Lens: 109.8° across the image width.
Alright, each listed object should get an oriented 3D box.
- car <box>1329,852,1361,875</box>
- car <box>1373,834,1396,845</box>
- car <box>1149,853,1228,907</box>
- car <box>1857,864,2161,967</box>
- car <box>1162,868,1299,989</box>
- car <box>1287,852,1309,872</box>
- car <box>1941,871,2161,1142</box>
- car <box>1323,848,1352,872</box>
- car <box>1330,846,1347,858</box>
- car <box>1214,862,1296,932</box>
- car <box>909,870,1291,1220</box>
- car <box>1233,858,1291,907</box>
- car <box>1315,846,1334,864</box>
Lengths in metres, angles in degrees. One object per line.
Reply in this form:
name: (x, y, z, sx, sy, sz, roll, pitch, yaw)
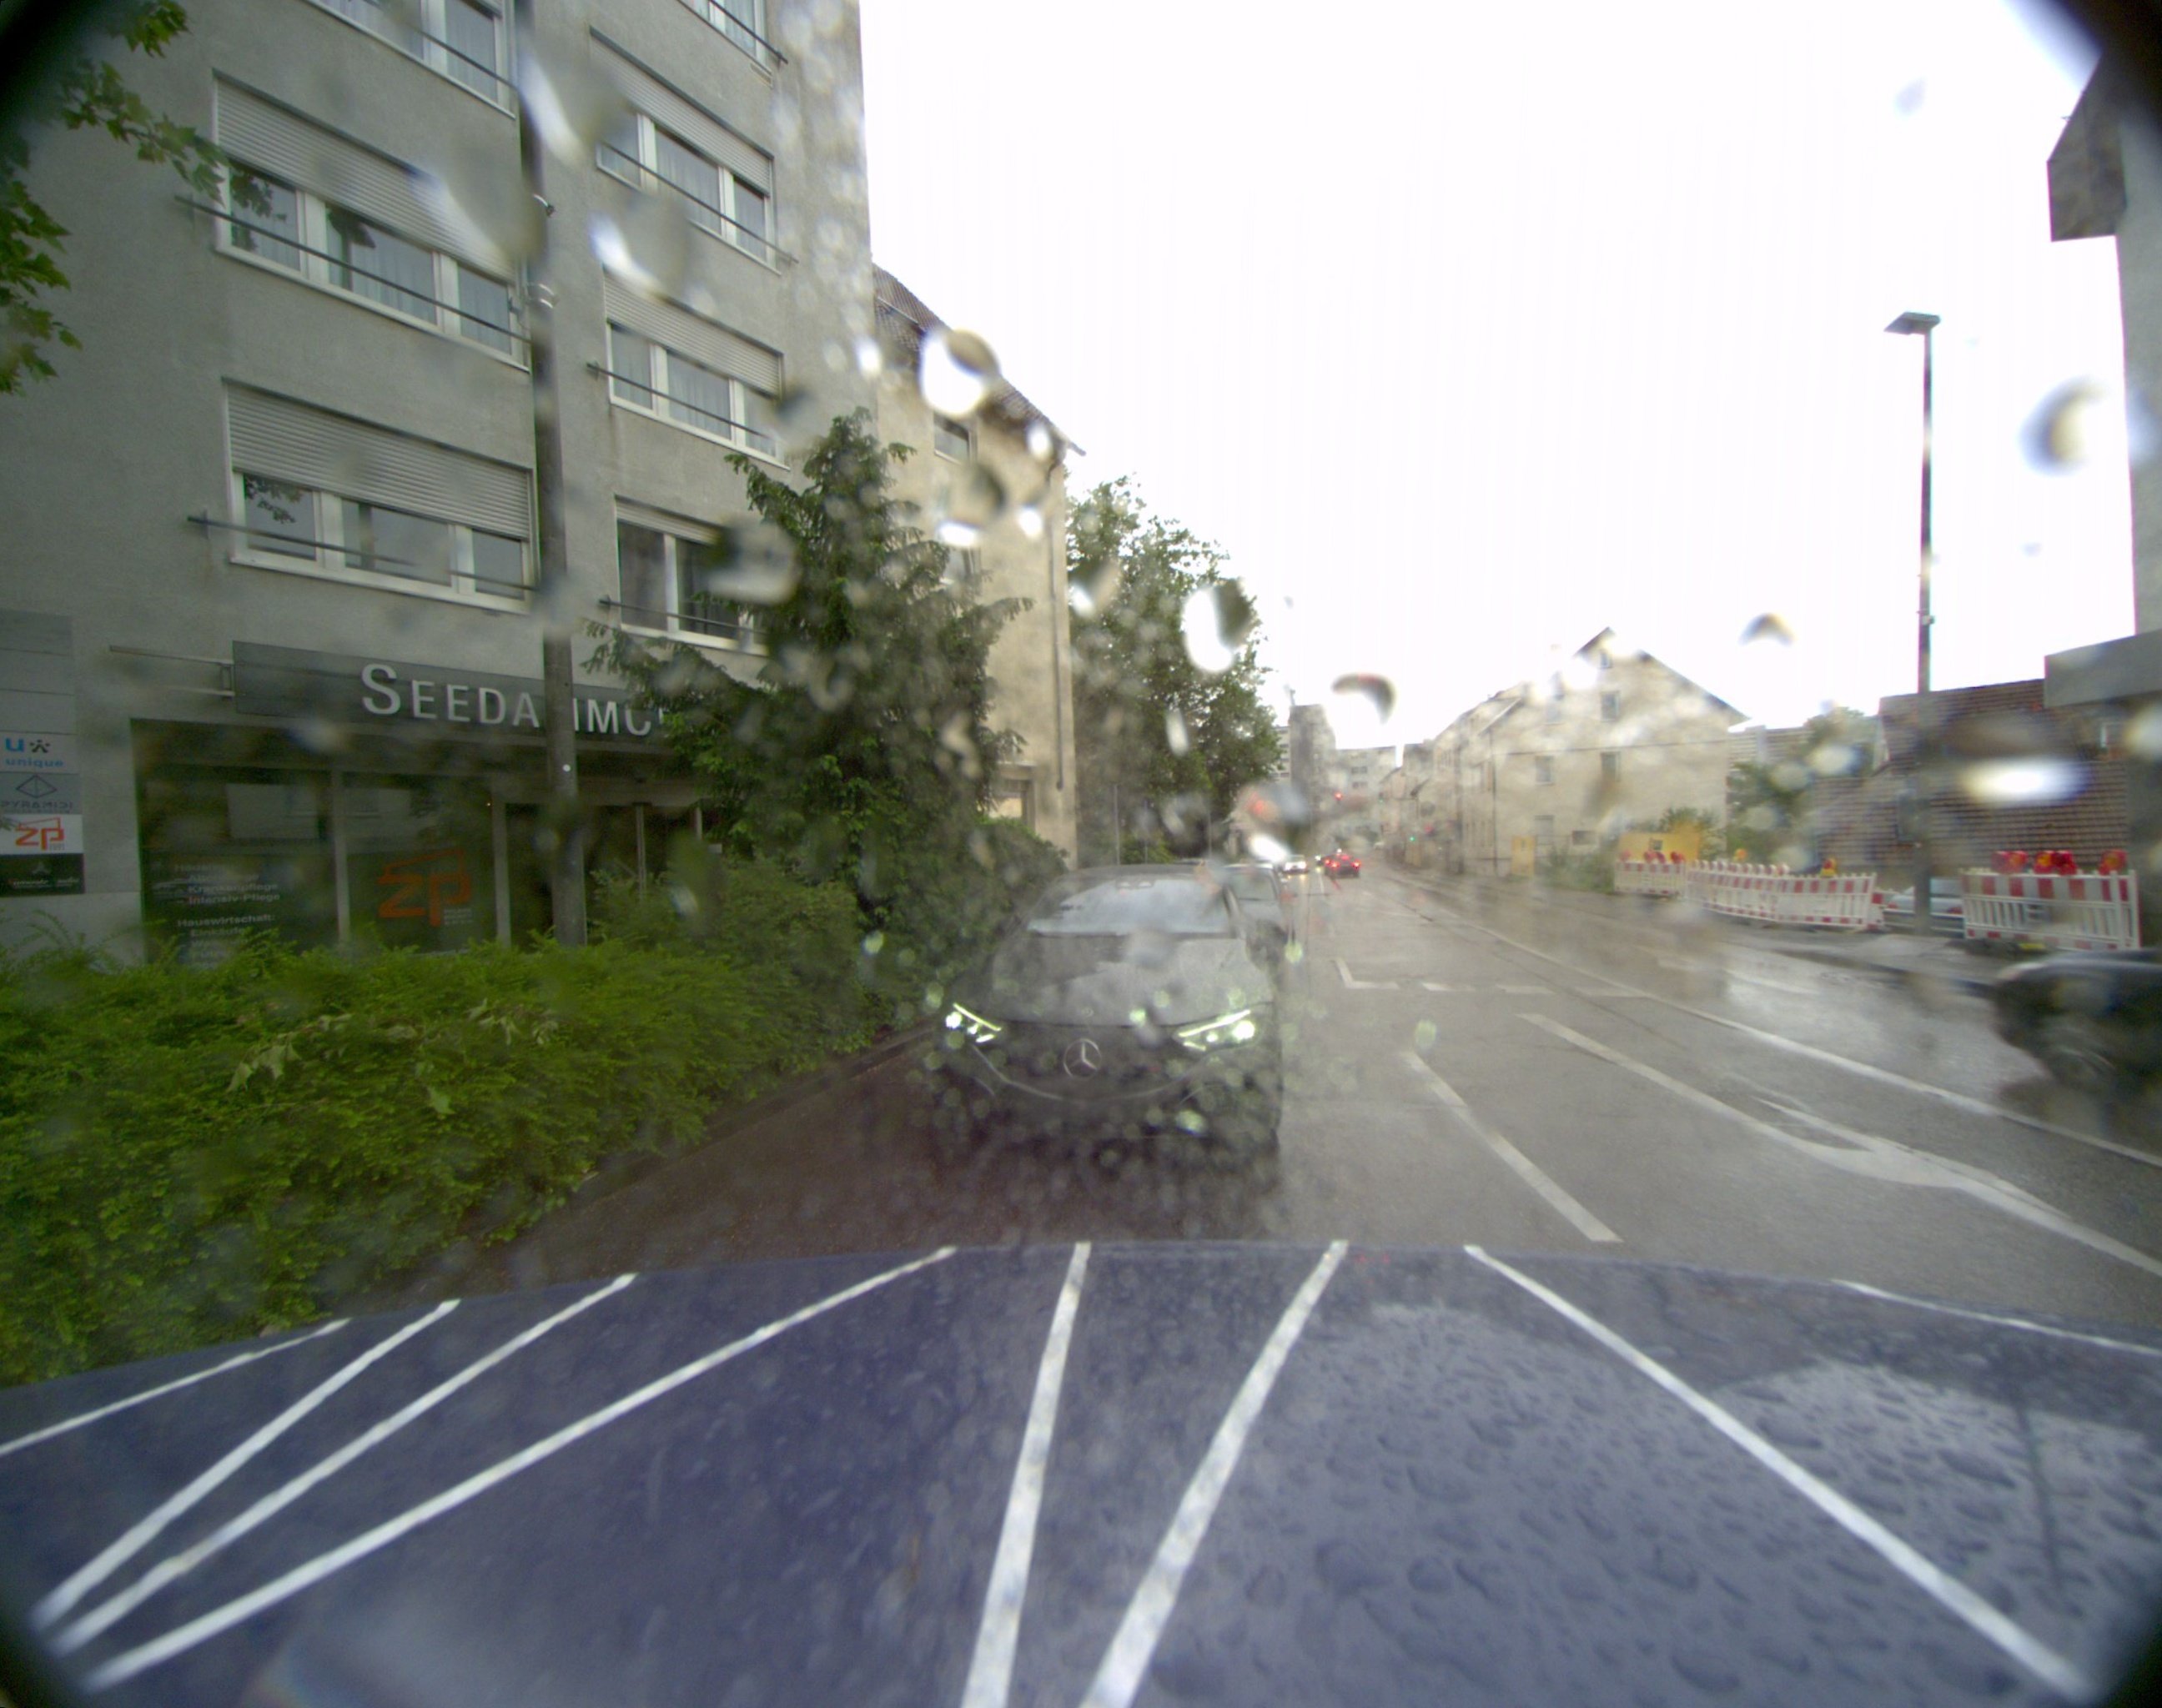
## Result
car: (17.206, 0.617, 49.647, 1.709, 1.375, 3.674, -2, 0, 16)
car: (48.636, -2.291, 121.730, 3.842, 1.555, 1.736, -2, 0, -39)
car: (4.035, 0.887, 27.801, 1.933, 1.770, 4.740, -1, 0, 20)
car: (16.464, 1.050, 13.424, 3.505, 1.382, 1.653, 6, -1, 8)
car: (2.397, 0.962, 11.459, 1.639, 1.424, 3.810, -1, 0, 17)
car: (17.999, 0.659, 63.059, 1.613, 1.495, 3.722, -3, -1, 17)
car: (6.908, 0.860, 3.264, 1.736, 1.501, 4.274, 0, 0, 3)
car: (18.873, 0.406, 56.037, 1.818, 1.635, 4.281, -2, -1, 16)
car: (35.352, -0.333, 104.086, 1.790, 1.555, 3.842, -2, 0, 24)
car: (4.255, 0.959, 18.393, 1.685, 1.413, 4.004, -2, 0, 14)
car: (0.475, 0.967, 5.791, 1.819, 1.562, 4.280, -2, -1, 11)
car: (6.233, 0.917, 25.849, 1.684, 1.452, 4.005, -2, 0, 16)
car: (26.006, 0.122, 81.208, 1.791, 1.841, 3.840, -2, 0, 16)
